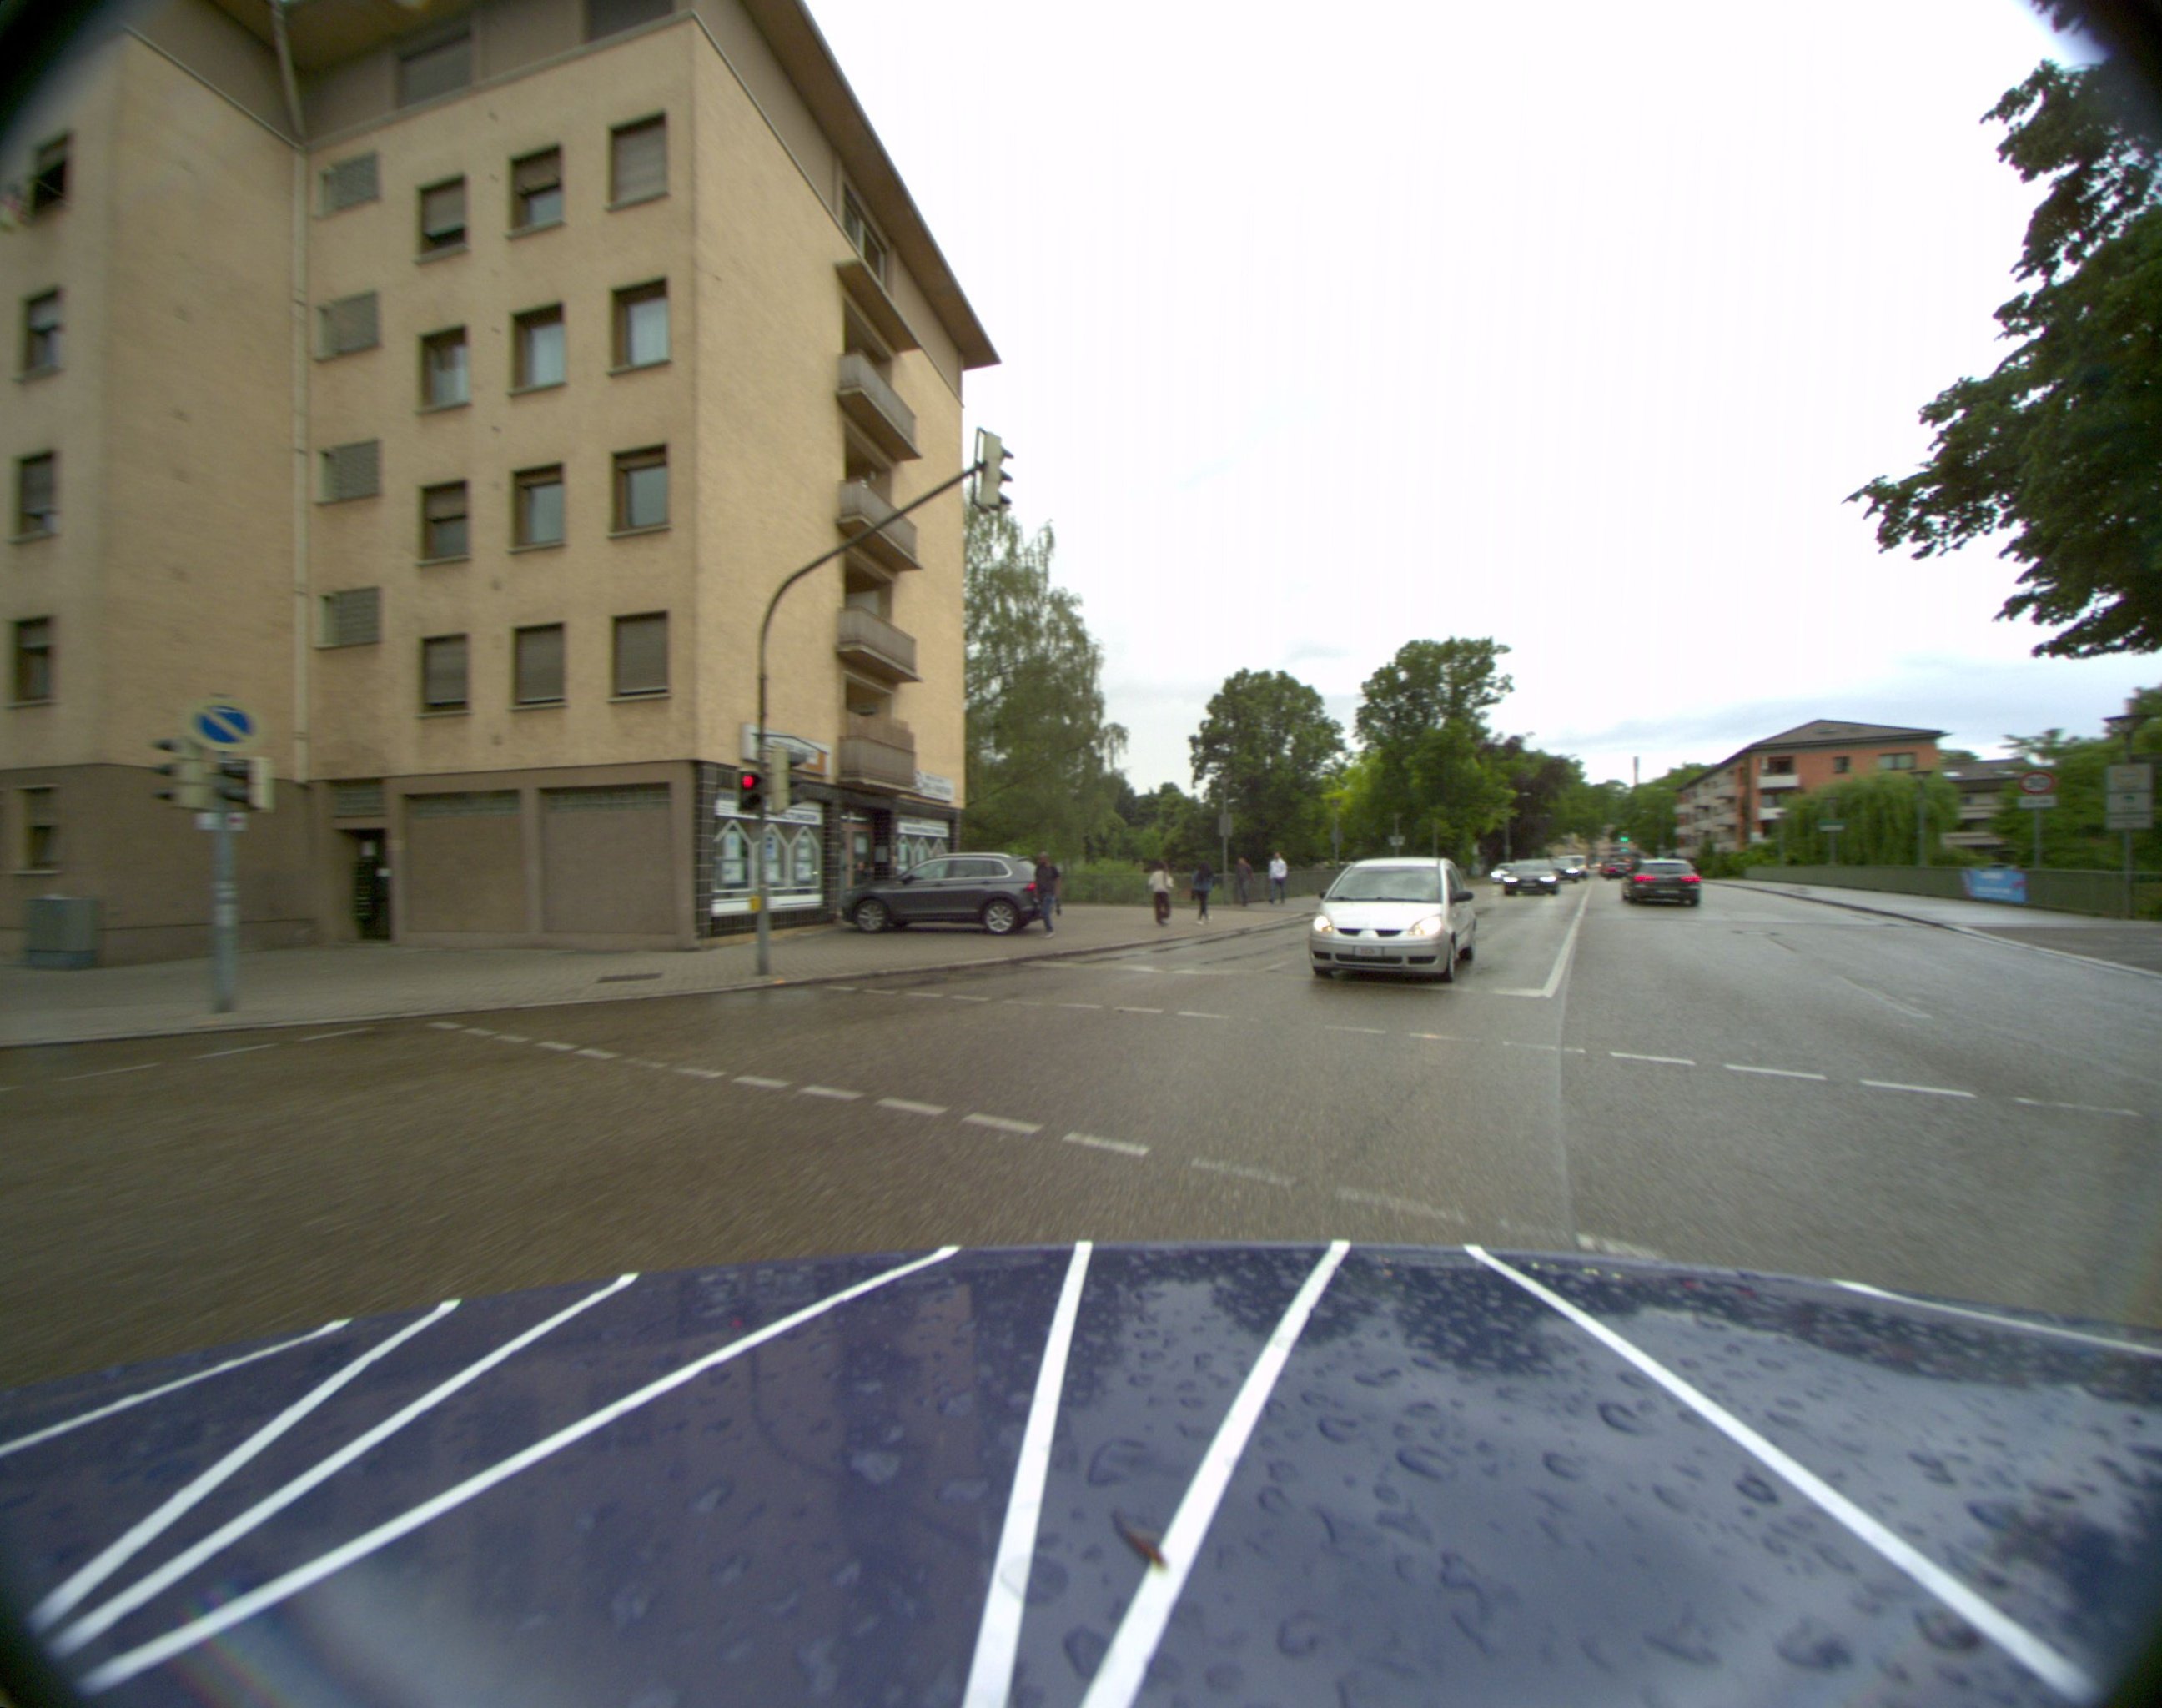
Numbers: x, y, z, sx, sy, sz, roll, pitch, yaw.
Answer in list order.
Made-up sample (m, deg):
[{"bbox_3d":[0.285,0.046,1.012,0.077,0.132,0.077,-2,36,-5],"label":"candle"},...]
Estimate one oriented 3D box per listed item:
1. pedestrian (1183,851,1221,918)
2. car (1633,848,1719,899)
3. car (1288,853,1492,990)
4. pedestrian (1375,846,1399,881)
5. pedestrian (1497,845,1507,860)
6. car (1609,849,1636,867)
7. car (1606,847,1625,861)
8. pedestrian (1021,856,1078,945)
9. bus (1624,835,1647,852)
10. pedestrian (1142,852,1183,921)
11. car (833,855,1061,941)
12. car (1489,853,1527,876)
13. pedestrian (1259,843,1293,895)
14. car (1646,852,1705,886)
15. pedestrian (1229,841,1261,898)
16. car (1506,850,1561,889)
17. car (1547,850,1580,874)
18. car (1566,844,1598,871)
[{"bbox_3d":[2.981,0.723,18.705,0.657,1.591,0.797,2,2,32],"label":"pedestrian"},{"bbox_3d":[18.807,0.554,23.964,1.811,1.441,4.215,0,1,43],"label":"car"},{"bbox_3d":[4.625,0.767,10.881,1.715,1.508,4.817,-1,-1,34],"label":"car"},{"bbox_3d":[14.387,0.450,35.731,0.863,1.610,0.841,1,1,35],"label":"pedestrian"},{"bbox_3d":[47.285,-0.133,85.348,0.848,1.666,1.170,2,2,34],"label":"pedestrian"},{"bbox_3d":[43.434,0.289,61.009,1.710,1.408,4.102,1,1,34],"label":"car"},{"bbox_3d":[64.721,-0.009,92.031,1.889,1.725,4.380,1,0,35],"label":"car"},{"bbox_3d":[-0.610,0.877,14.843,0.761,1.668,0.783,2,1,35],"label":"pedestrian"},{"bbox_3d":[95.535,-1.804,131.020,2.694,2.923,12.109,1,1,34],"label":"bus"},{"bbox_3d":[1.906,0.736,17.720,0.762,1.566,0.782,1,1,19],"label":"pedestrian"},{"bbox_3d":[-2.724,0.855,16.042,4.375,1.639,1.884,0,1,7],"label":"car"},{"bbox_3d":[29.582,0.702,52.558,1.902,1.537,4.008,-1,1,35],"label":"car"},{"bbox_3d":[6.709,0.516,26.129,0.780,1.742,1.063,0,1,34],"label":"pedestrian"},{"bbox_3d":[28.330,0.657,36.335,1.729,1.451,4.436,0,1,32],"label":"car"},{"bbox_3d":[5.259,0.489,24.412,0.761,1.798,0.783,1,1,35],"label":"pedestrian"},{"bbox_3d":[19.011,0.618,31.870,1.715,1.508,4.097,-1,-1,34],"label":"car"},{"bbox_3d":[31.851,0.538,50.141,1.715,1.508,4.097,-1,-1,34],"label":"car"},{"bbox_3d":[41.005,0.230,62.192,2.033,2.119,4.008,0,1,35],"label":"car"}]
